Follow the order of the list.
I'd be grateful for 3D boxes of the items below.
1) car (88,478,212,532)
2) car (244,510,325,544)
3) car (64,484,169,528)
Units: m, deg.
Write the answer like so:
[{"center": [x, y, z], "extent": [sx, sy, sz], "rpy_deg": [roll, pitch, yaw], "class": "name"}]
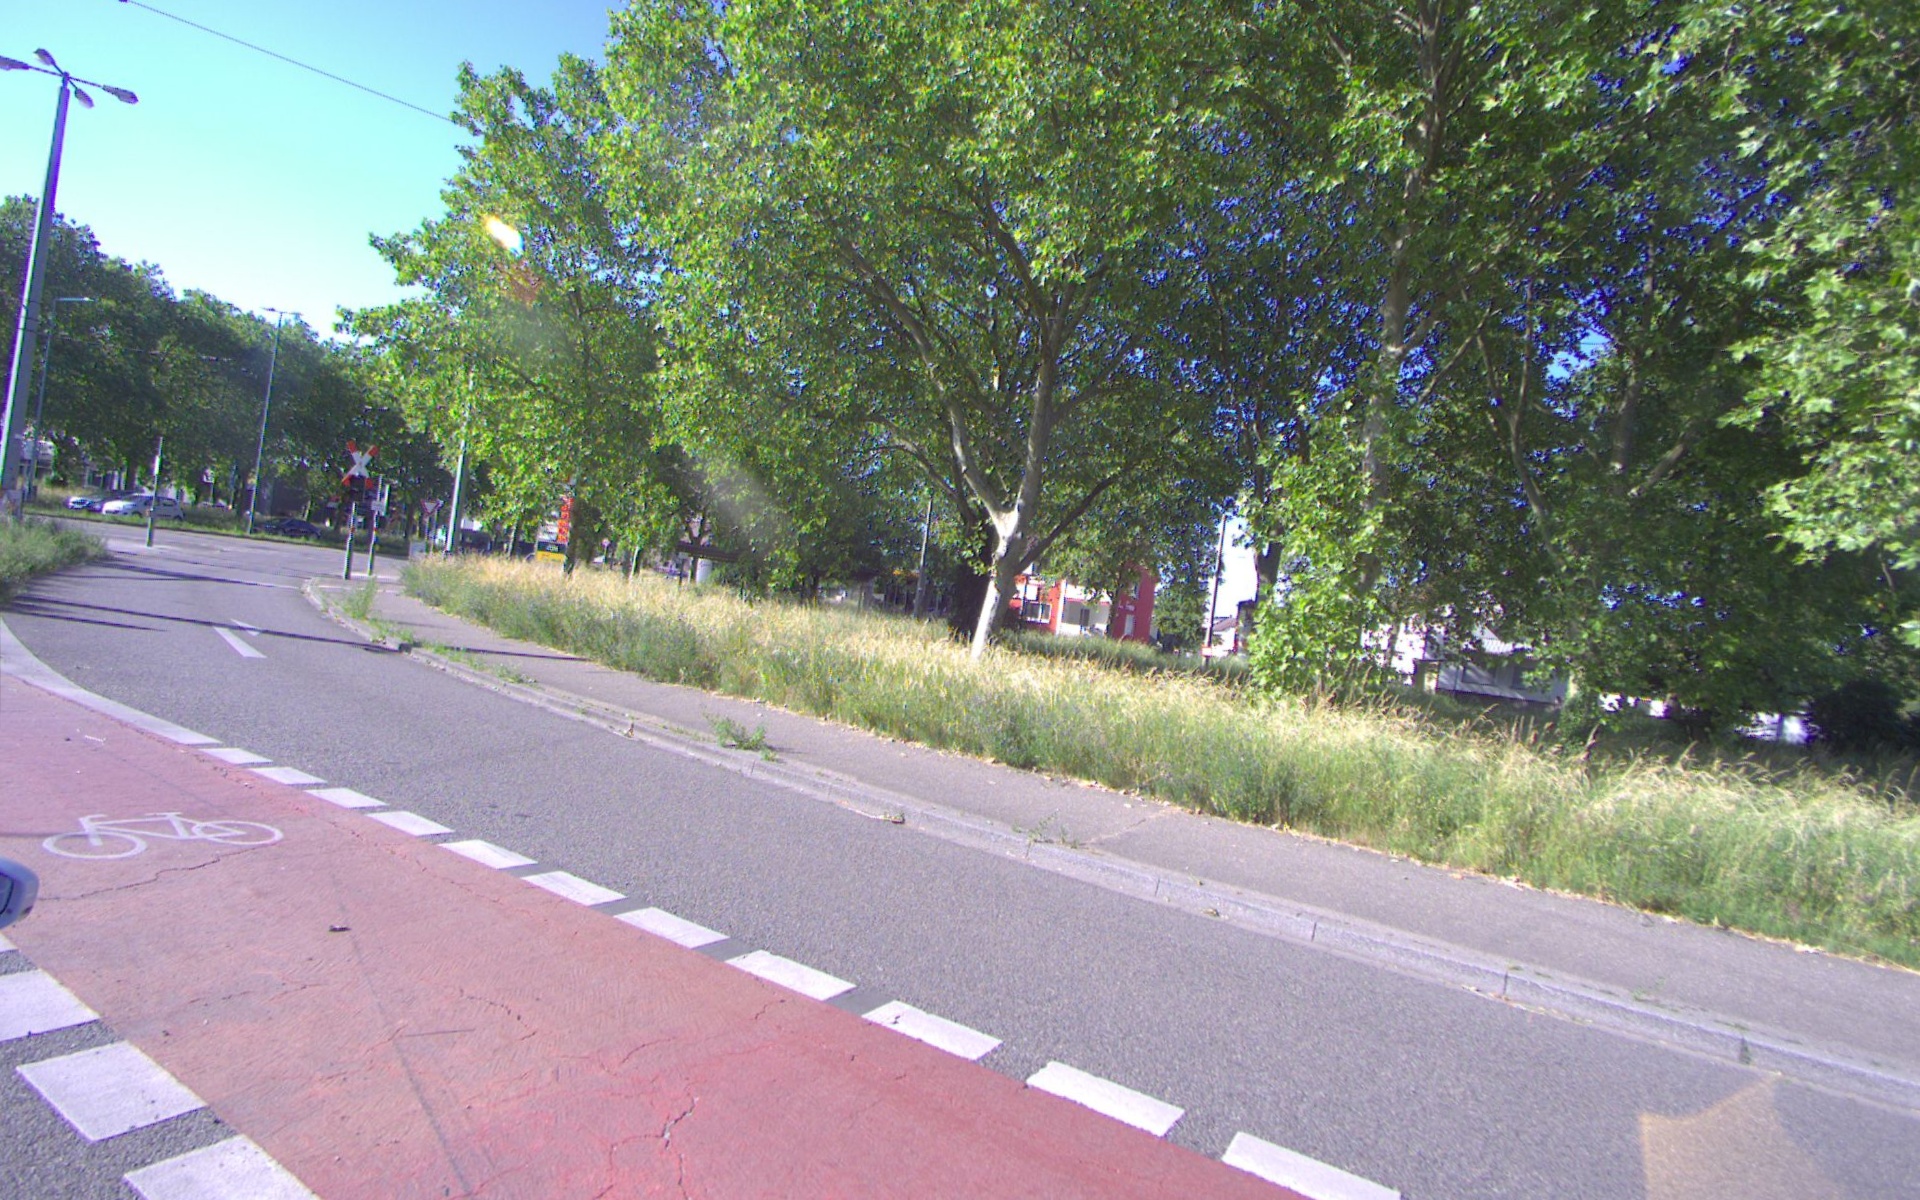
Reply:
[{"center": [-42.962, -5.019, 53.540], "extent": [1.962, 2.038, 4.907], "rpy_deg": [7, 0, 9], "class": "car"}, {"center": [-44.770, -4.805, 66.800], "extent": [1.661, 1.593, 4.527], "rpy_deg": [8, 0, 9], "class": "car"}, {"center": [-46.239, -5.108, 55.268], "extent": [1.845, 1.596, 4.006], "rpy_deg": [8, -2, 11], "class": "car"}]
